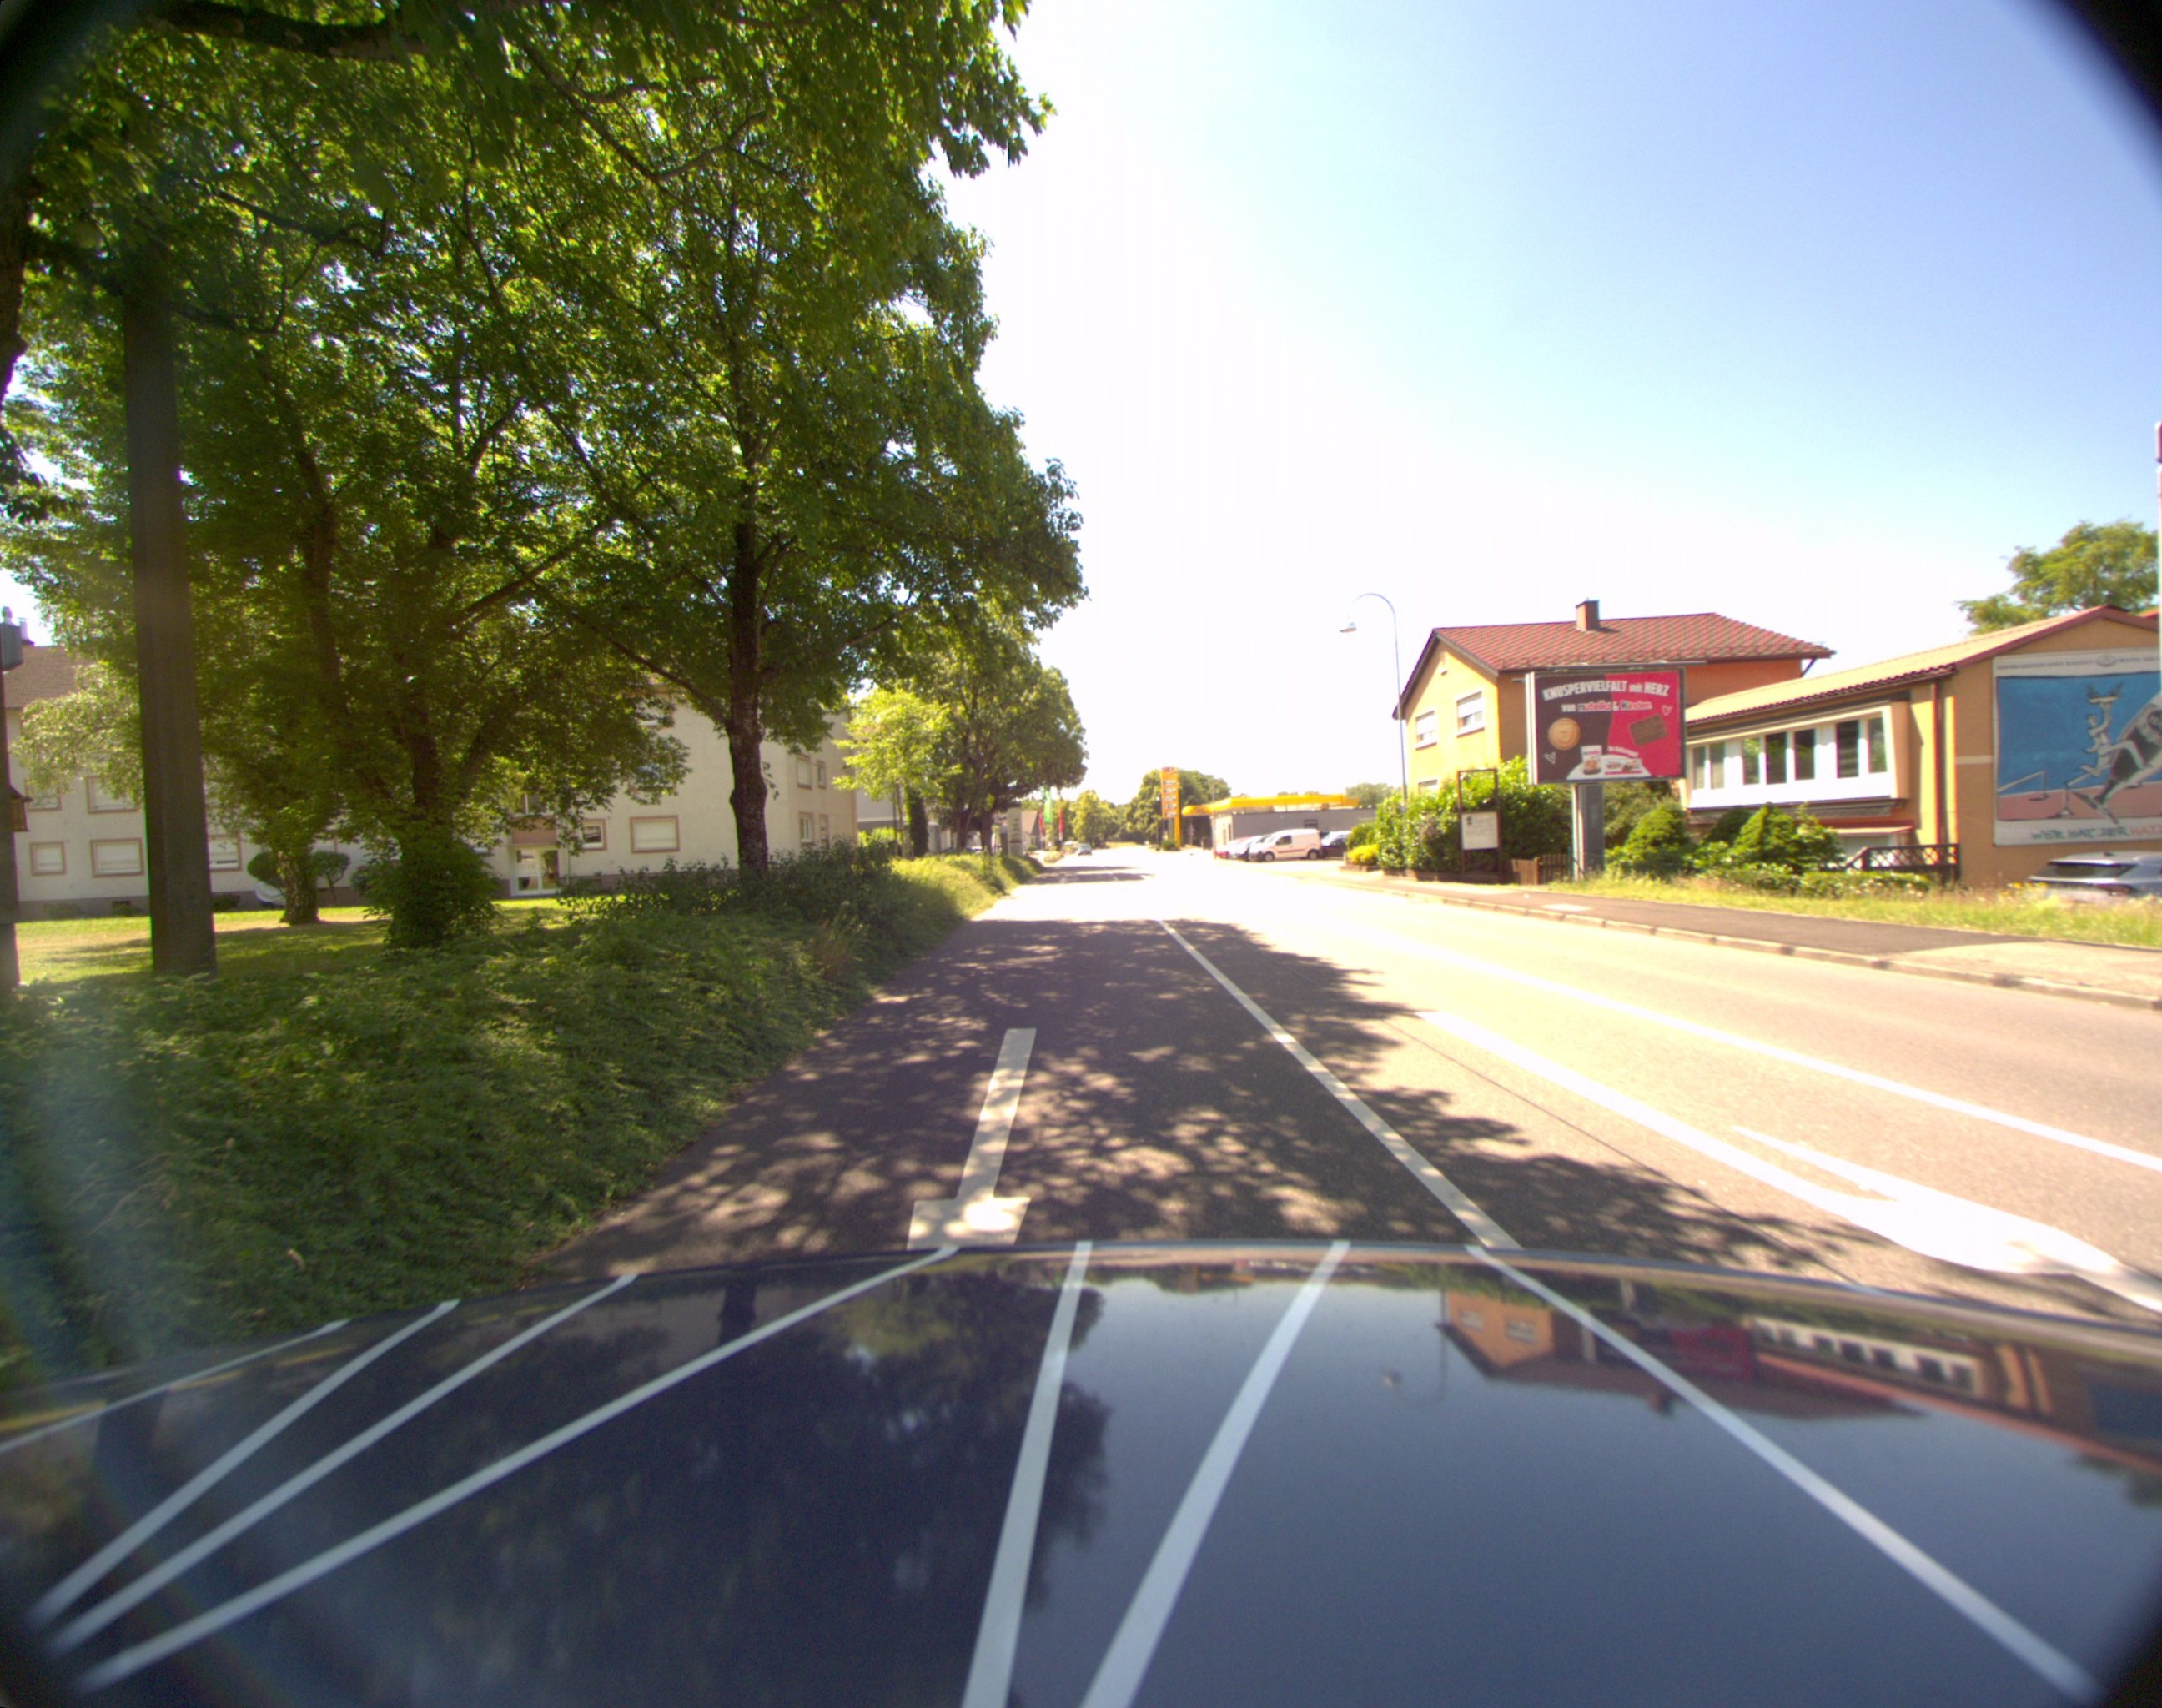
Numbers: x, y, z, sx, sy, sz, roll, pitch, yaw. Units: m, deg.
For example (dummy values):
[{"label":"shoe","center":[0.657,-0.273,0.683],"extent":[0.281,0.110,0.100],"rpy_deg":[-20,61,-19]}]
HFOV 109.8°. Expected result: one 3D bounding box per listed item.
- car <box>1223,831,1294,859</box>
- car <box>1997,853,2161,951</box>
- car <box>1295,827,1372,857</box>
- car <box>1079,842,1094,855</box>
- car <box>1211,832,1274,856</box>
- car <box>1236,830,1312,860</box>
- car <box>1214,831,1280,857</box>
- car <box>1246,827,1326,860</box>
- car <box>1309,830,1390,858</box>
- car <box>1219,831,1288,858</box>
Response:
[{"label":"car","center":[12.183,-0.640,52.346],"extent":[4.402,1.750,1.874],"rpy_deg":[-2,1,-5]},{"label":"car","center":[19.872,0.814,13.686],"extent":[4.224,1.600,1.771],"rpy_deg":[-1,1,8]},{"label":"car","center":[16.595,-0.785,50.001],"extent":[4.402,1.815,1.874],"rpy_deg":[-2,1,-5]},{"label":"car","center":[0.674,-0.714,92.815],"extent":[1.771,1.521,4.129],"rpy_deg":[-2,1,0]},{"label":"car","center":[12.566,-0.804,59.336],"extent":[4.402,1.750,1.874],"rpy_deg":[-2,1,-5]},{"label":"car","center":[12.094,-0.561,47.854],"extent":[4.246,1.750,1.874],"rpy_deg":[-2,1,-5]},{"label":"car","center":[12.376,-0.754,56.854],"extent":[4.402,1.750,1.874],"rpy_deg":[-2,1,-5]},{"label":"car","center":[12.298,-0.626,45.698],"extent":[4.191,1.858,1.874],"rpy_deg":[-2,1,-5]},{"label":"car","center":[16.842,-0.640,47.736],"extent":[4.402,1.555,1.874],"rpy_deg":[-2,1,-5]},{"label":"car","center":[12.393,-0.689,54.733],"extent":[4.402,1.750,1.874],"rpy_deg":[-2,1,-5]}]
